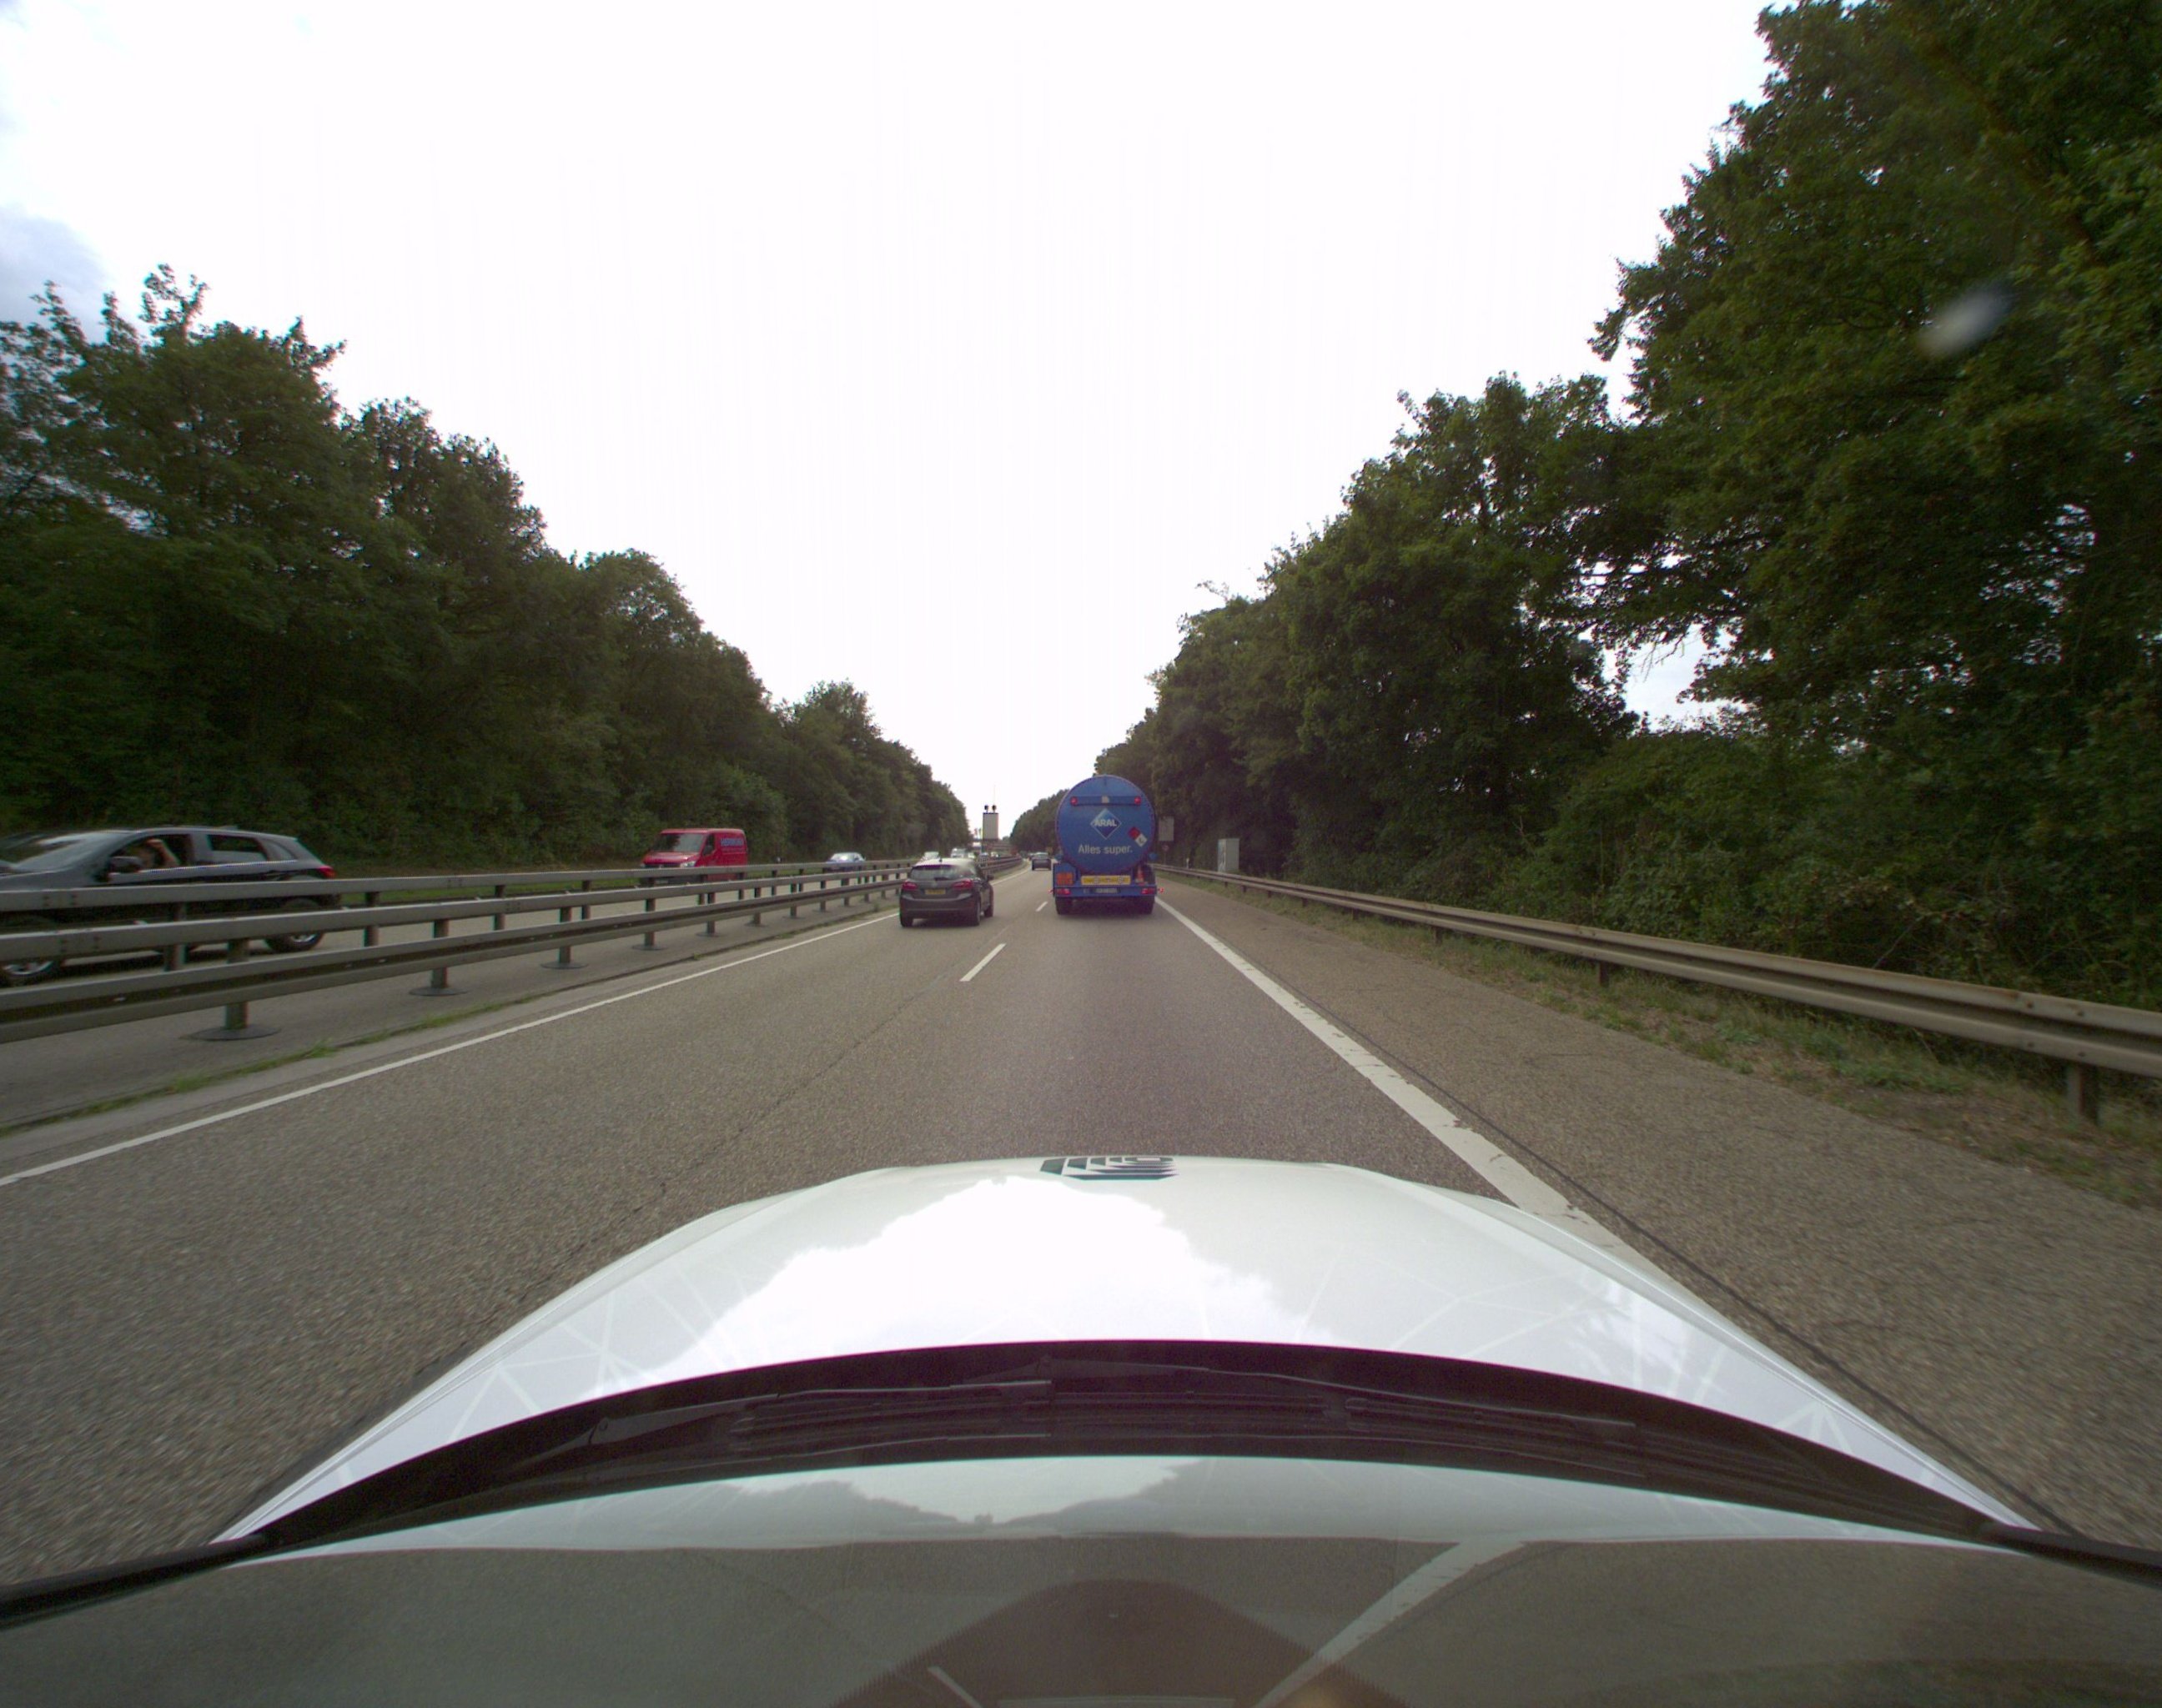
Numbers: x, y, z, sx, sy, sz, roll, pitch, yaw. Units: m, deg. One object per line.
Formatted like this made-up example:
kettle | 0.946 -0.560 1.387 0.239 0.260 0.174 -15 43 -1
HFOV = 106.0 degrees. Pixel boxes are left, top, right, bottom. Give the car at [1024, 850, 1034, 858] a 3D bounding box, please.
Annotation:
car | -10.421 0.001 164.587 1.951 1.567 3.994 -1 0 -4

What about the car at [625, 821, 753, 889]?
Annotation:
car | -14.294 0.055 30.156 2.059 2.256 5.375 -1 0 0

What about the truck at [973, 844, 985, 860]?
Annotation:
truck | -26.412 -0.407 210.697 2.687 4.063 5.315 -1 0 -4

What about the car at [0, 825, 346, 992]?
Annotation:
car | -10.983 0.531 9.127 1.775 1.563 4.016 -1 0 1

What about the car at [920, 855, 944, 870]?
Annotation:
car | -15.600 0.862 85.298 1.688 1.466 4.089 -1 0 0

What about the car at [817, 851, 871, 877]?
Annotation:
car | -14.879 0.603 51.312 1.987 1.509 4.505 -1 0 1

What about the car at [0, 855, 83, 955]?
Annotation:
car | -15.004 0.672 9.430 1.768 1.296 4.108 -1 0 1

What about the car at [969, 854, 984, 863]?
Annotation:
car | -17.889 0.782 139.762 1.988 1.481 4.129 -1 0 -1

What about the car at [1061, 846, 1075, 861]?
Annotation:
car | -2.002 -0.032 124.728 1.988 2.244 3.997 -1 0 -2

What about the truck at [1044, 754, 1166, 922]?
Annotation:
truck | 0.776 -0.368 22.685 2.744 3.846 7.695 -1 0 3

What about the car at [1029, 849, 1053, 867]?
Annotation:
car | -3.690 0.395 75.921 1.818 1.609 4.171 -1 0 4

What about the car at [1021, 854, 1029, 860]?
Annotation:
car | -15.073 0.814 218.720 1.990 1.552 3.993 -1 0 -5

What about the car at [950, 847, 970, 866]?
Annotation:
car | -15.647 0.296 105.448 1.930 2.321 5.301 -1 0 -2

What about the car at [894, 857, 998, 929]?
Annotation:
car | -3.032 0.817 19.132 1.822 1.458 4.635 -1 0 -2
